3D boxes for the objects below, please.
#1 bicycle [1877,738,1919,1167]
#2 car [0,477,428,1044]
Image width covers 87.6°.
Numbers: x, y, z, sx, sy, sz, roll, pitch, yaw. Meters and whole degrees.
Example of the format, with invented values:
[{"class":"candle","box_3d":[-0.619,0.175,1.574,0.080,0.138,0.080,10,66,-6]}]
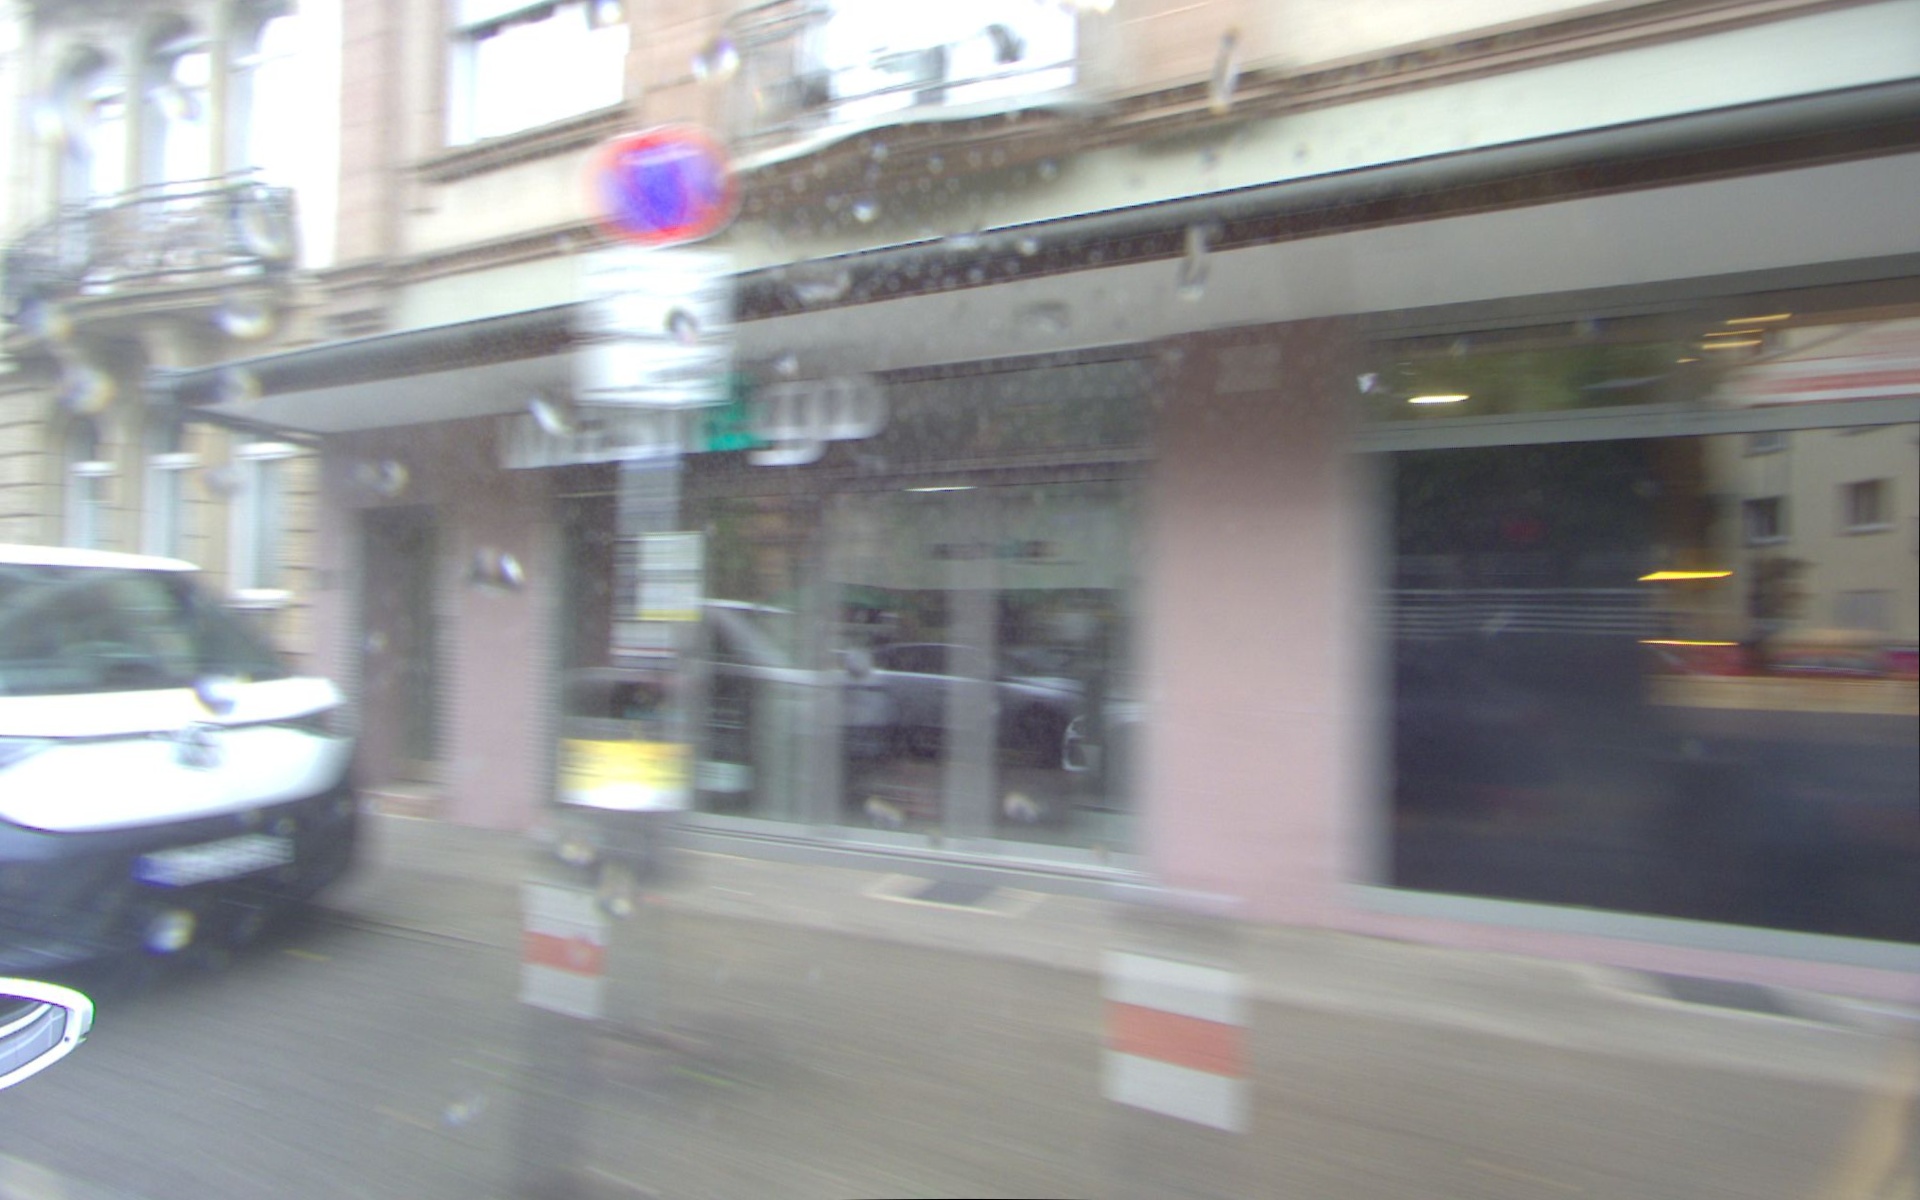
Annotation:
[{"class":"bicycle","box_3d":[3.472,0.966,2.301,1.904,1.142,0.624,0,-2,21]},{"class":"car","box_3d":[-5.446,0.581,5.107,5.141,1.964,1.995,0,-1,22]}]
